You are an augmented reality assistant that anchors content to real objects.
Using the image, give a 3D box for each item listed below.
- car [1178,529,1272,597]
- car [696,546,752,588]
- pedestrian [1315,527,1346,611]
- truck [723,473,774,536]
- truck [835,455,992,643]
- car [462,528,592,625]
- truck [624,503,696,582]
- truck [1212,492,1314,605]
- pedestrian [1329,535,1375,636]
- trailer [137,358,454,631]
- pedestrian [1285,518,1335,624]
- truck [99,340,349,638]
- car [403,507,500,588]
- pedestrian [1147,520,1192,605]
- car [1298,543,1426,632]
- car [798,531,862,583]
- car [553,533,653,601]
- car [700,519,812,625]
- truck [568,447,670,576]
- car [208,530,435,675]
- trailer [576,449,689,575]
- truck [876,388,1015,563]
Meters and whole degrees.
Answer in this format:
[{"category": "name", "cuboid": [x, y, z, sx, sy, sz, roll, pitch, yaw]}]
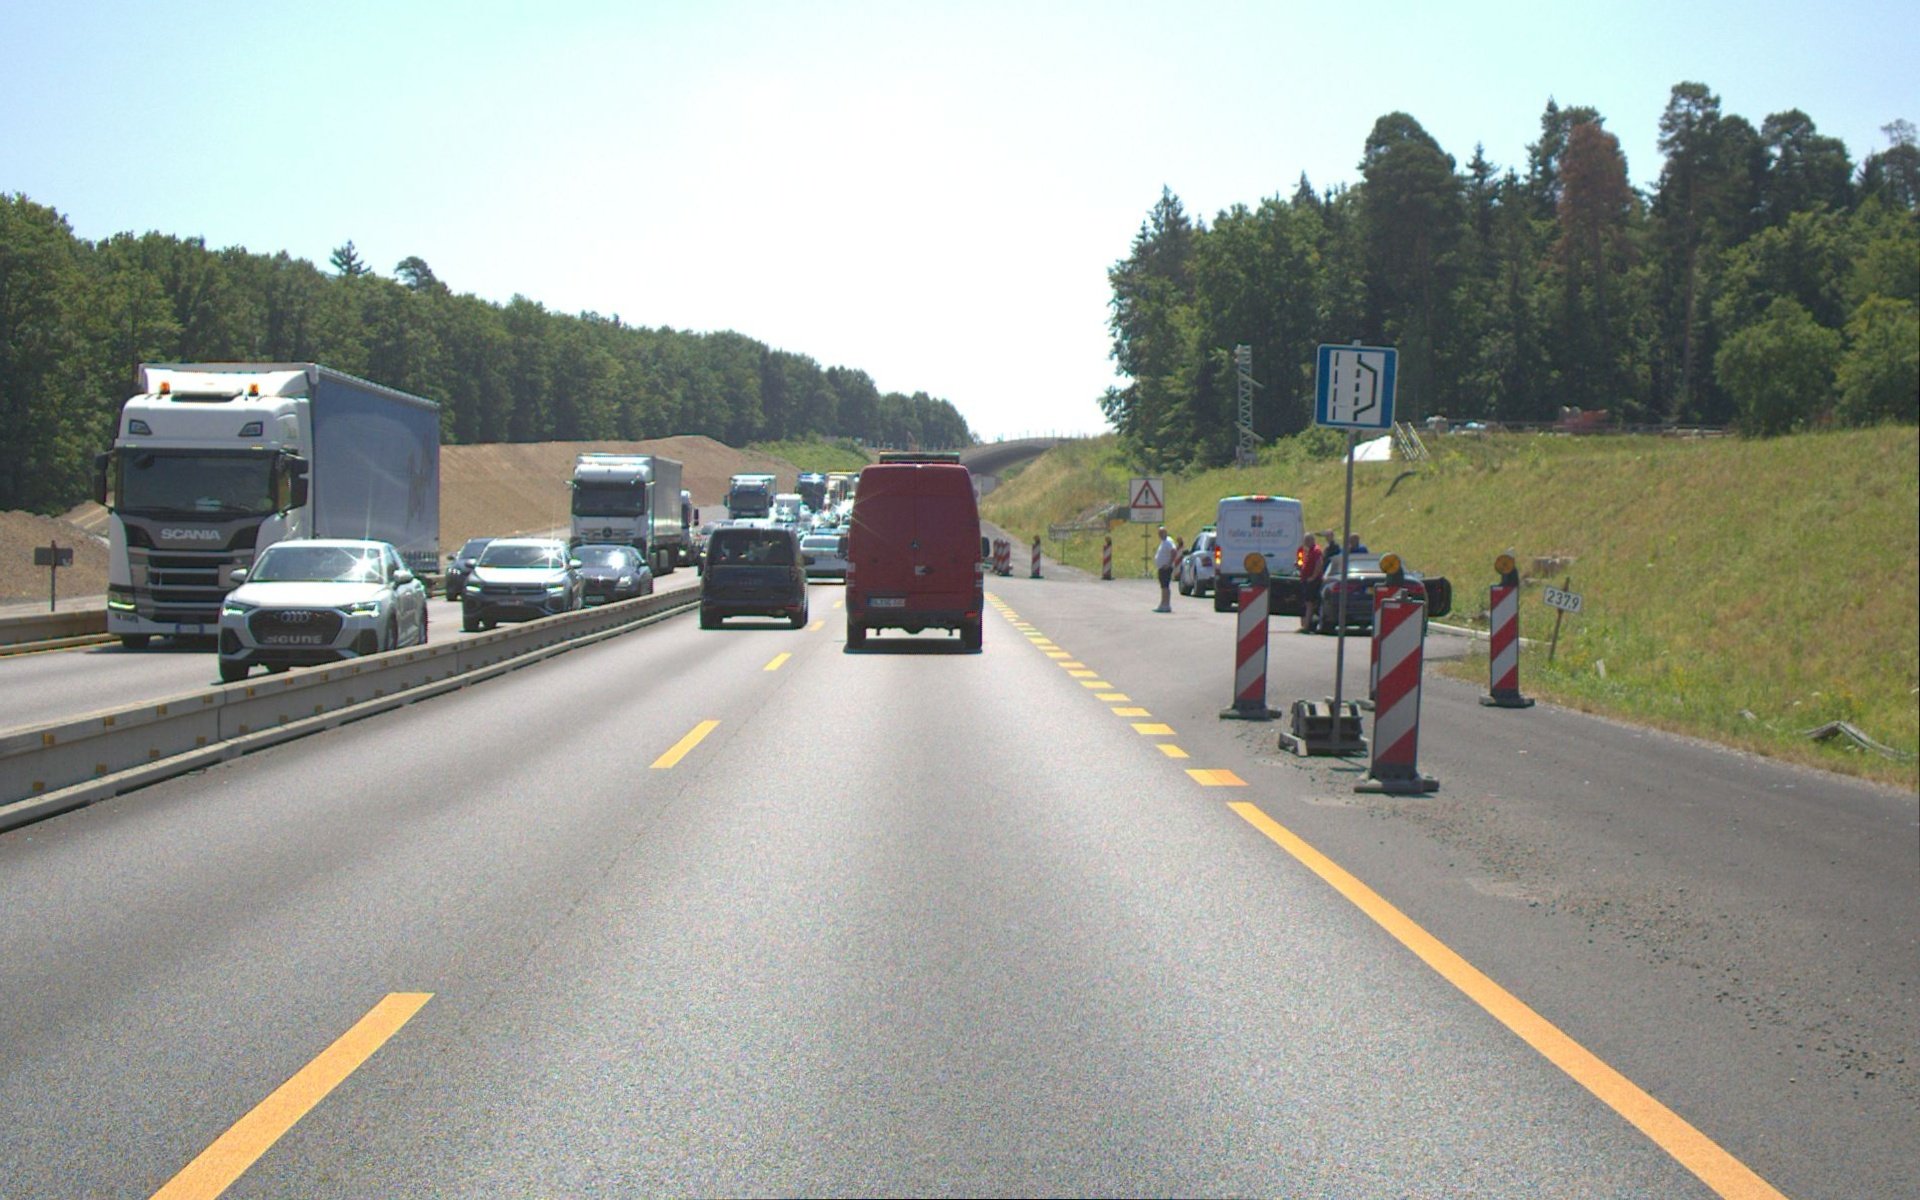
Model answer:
[{"category": "car", "cuboid": [7.061, -1.007, 92.034, 1.774, 1.671, 4.856, 1, 2, -4]}, {"category": "car", "cuboid": [-8.179, -1.136, 119.611, 1.726, 1.382, 4.484, 1, 0, -1]}, {"category": "pedestrian", "cuboid": [8.017, -0.672, 74.417, 0.563, 1.789, 0.667, 1, 0, -2]}, {"category": "truck", "cuboid": [-12.999, -5.861, 212.022, 2.509, 3.604, 9.641, 1, 0, 0]}, {"category": "truck", "cuboid": [-0.653, -0.723, 50.670, 2.153, 2.581, 5.333, 1, 0, 0]}, {"category": "car", "cuboid": [-7.346, -0.428, 58.600, 1.775, 1.549, 4.140, -2, 1, -2]}, {"category": "truck", "cuboid": [-11.981, -2.274, 137.616, 2.398, 3.048, 5.062, 1, 0, 0]}, {"category": "truck", "cuboid": [6.941, -1.199, 78.353, 2.130, 2.448, 5.924, 1, 1, 6]}, {"category": "pedestrian", "cuboid": [7.191, -0.273, 63.145, 0.624, 1.822, 0.643, 1, 1, -12]}, {"category": "trailer", "cuboid": [-10.677, -1.642, 56.886, 2.653, 3.925, 13.997, 1, 1, -1]}, {"category": "pedestrian", "cuboid": [6.088, -0.501, 59.816, 0.640, 1.822, 0.559, 1, 1, -21]}, {"category": "truck", "cuboid": [-10.542, -1.568, 49.696, 2.591, 4.039, 5.150, 1, 1, -2]}, {"category": "car", "cuboid": [-12.132, -1.233, 82.191, 1.717, 1.868, 4.000, 1, 0, 0]}, {"category": "pedestrian", "cuboid": [4.550, -0.804, 74.652, 0.723, 1.822, 0.720, 1, 0, -17]}, {"category": "car", "cuboid": [7.003, -0.250, 60.295, 1.654, 1.422, 4.545, -2, 1, 0]}, {"category": "car", "cuboid": [-3.981, -1.312, 105.896, 1.831, 1.517, 3.961, 1, 0, -1]}, {"category": "car", "cuboid": [-7.605, -0.695, 73.602, 1.729, 1.382, 4.861, 1, 0, -1]}, {"category": "car", "cuboid": [-3.635, -0.536, 61.911, 1.751, 1.818, 4.783, 1, 1, -1]}, {"category": "truck", "cuboid": [-11.062, -2.844, 111.893, 2.768, 4.030, 4.943, 1, 0, 0]}, {"category": "car", "cuboid": [-7.000, 0.017, 38.079, 1.807, 1.483, 4.243, 1, 0, -1]}, {"category": "trailer", "cuboid": [-11.193, -3.021, 118.676, 2.790, 4.061, 13.712, 1, 1, -1]}, {"category": "truck", "cuboid": [-0.562, -4.099, 119.212, 4.400, 5.477, 16.604, 1, 0, -1]}]
